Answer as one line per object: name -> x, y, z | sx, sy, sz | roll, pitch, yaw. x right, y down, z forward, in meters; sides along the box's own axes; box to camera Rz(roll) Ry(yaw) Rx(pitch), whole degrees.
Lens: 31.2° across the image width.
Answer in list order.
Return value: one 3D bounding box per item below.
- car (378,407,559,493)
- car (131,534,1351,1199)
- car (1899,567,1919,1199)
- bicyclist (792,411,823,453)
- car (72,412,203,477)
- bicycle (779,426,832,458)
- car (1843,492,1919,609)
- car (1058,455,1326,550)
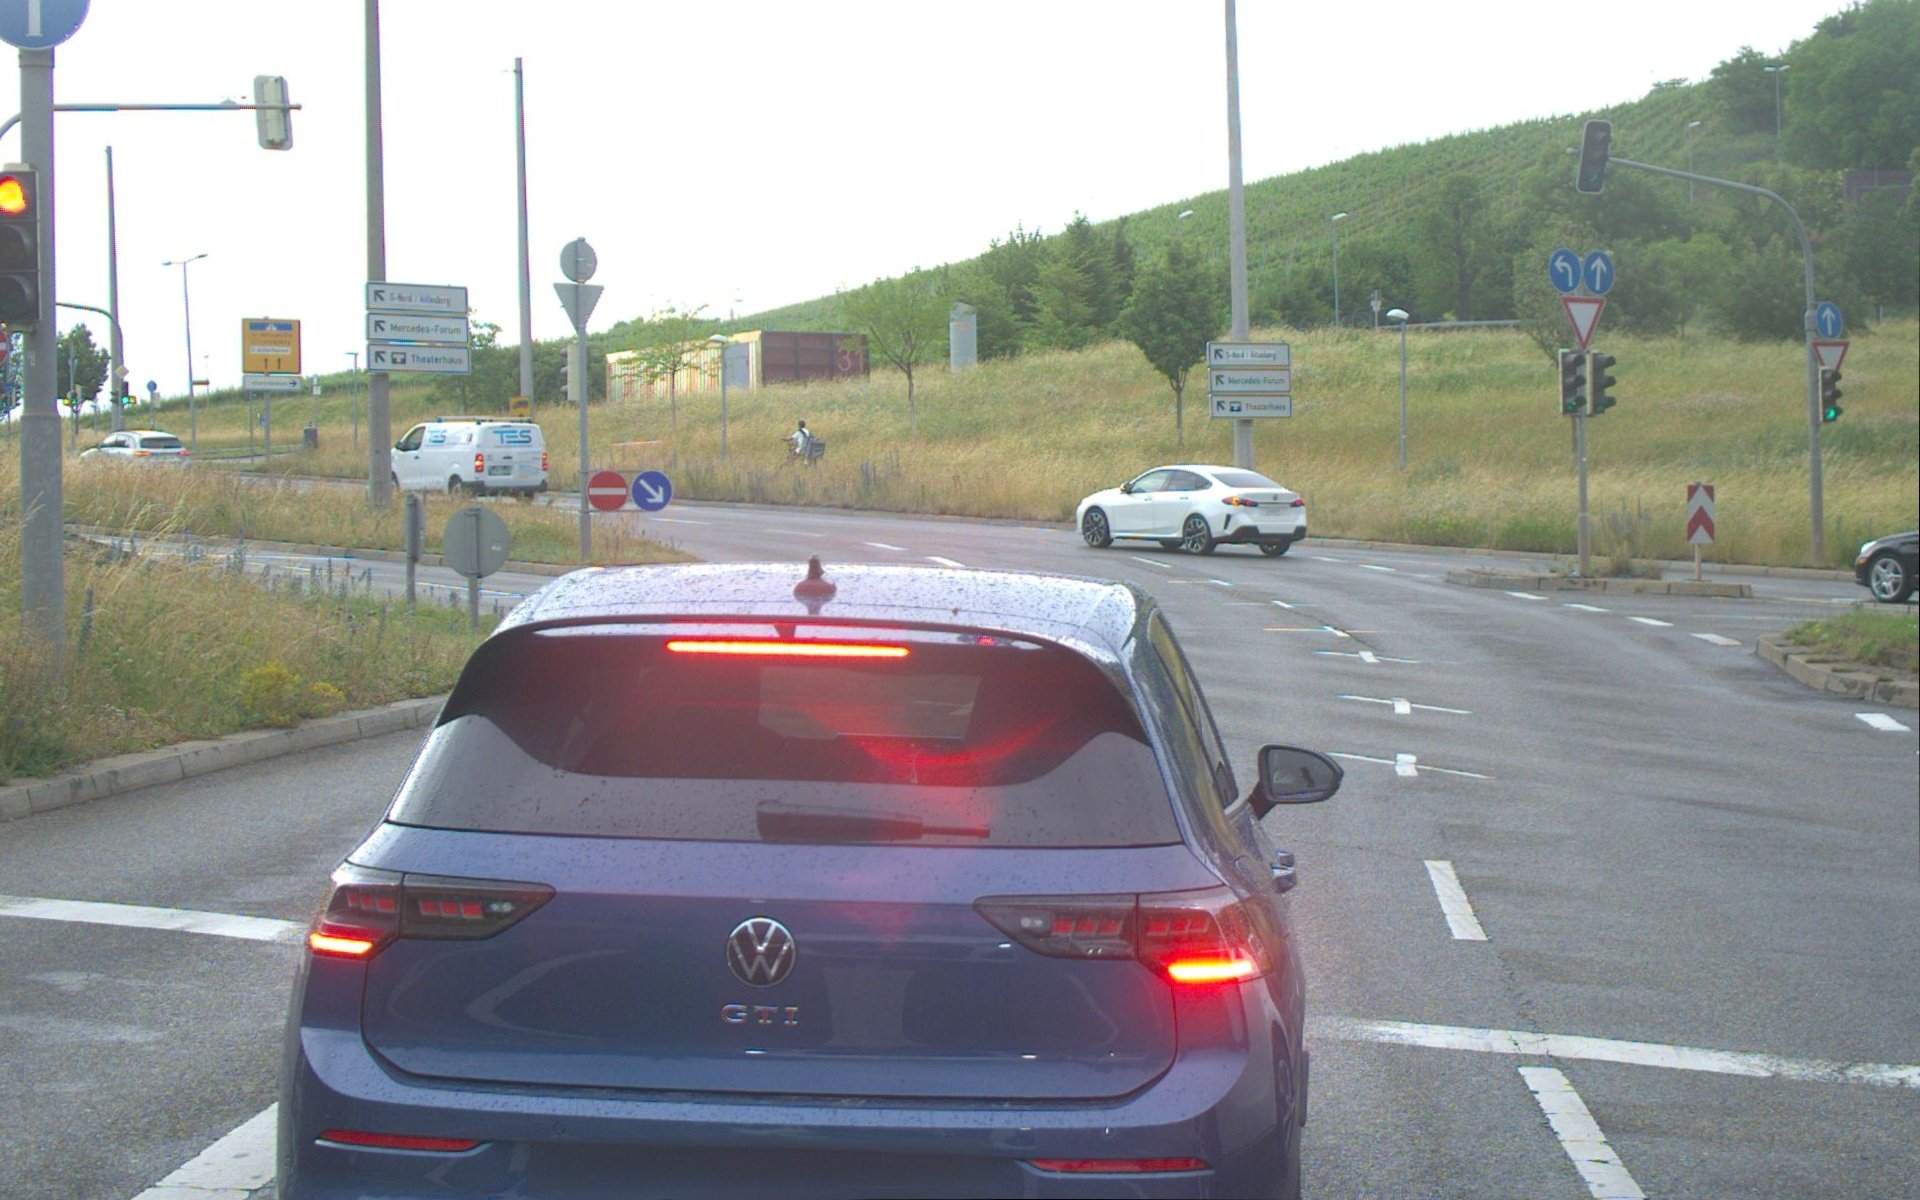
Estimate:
car -> -11.219, -3.379, 78.233 | 2.129, 1.788, 4.740 | 1, 0, -35
car -> -0.228, 0.614, 7.045 | 1.825, 1.455, 3.808 | 1, 1, 3
car -> 2.949, 0.690, 6.361 | 1.658, 1.498, 3.450 | 1, 0, 4
bicyclist -> -3.967, -4.375, 89.356 | 0.523, 1.043, 0.580 | 3, 1, -36
car -> -23.080, -4.330, 96.345 | 1.994, 1.654, 4.544 | 1, 0, -35
bicycle -> -4.032, -4.106, 89.435 | 0.518, 0.772, 1.621 | 2, 2, -37
car -> 13.447, -0.603, 42.816 | 1.994, 1.472, 4.502 | 1, 0, -35
car -> 3.783, -1.576, 56.759 | 1.994, 1.472, 4.420 | 1, 0, -37
